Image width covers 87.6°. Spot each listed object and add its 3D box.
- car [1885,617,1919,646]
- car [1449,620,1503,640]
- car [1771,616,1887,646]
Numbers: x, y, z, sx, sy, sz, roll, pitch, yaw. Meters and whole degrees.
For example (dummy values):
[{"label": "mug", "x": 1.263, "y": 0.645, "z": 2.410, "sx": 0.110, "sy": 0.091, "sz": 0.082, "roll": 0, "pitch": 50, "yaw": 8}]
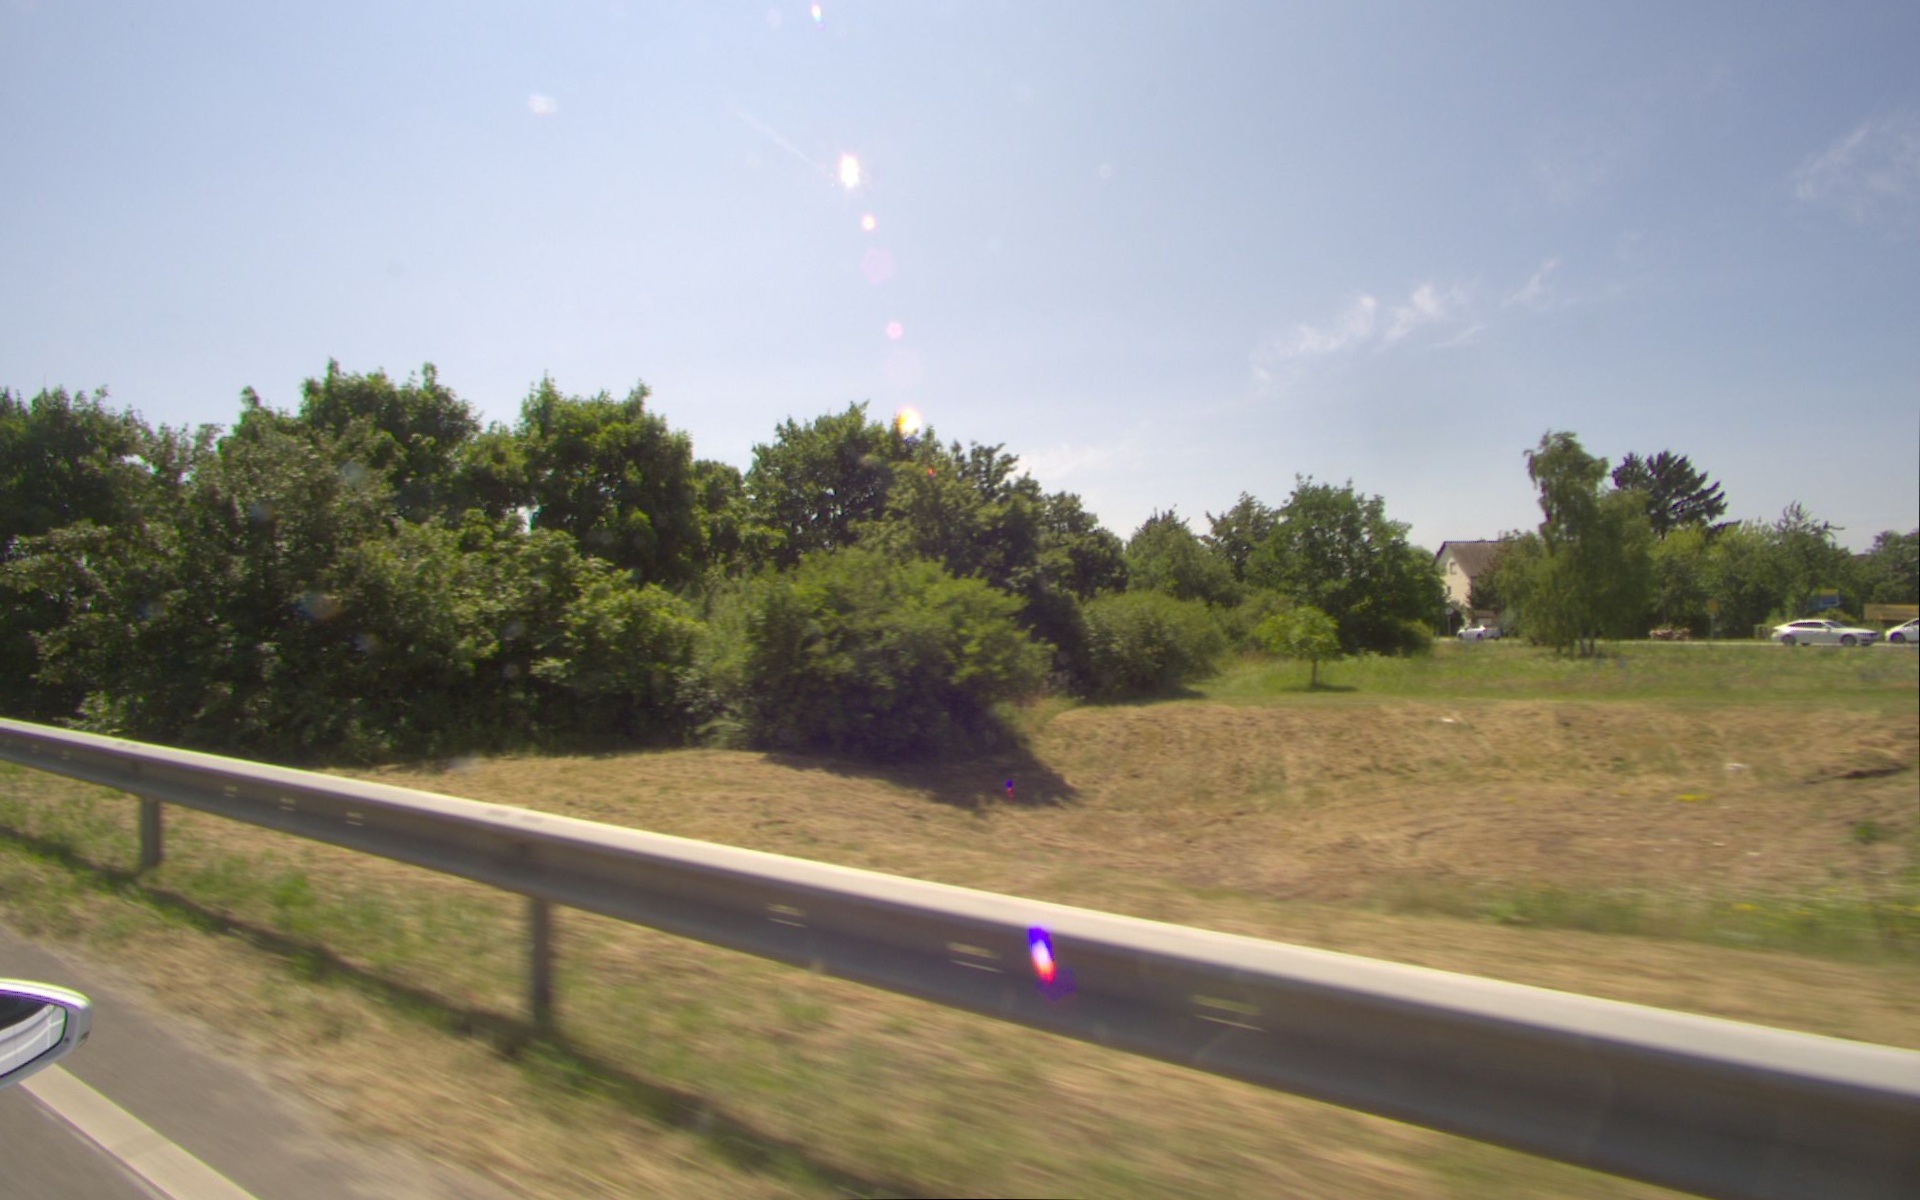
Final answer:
[{"label": "car", "x": 55.053, "y": 1.746, "z": 56.219, "sx": 2.036, "sy": 1.644, "sz": 4.132, "roll": 0, "pitch": -1, "yaw": -22}, {"label": "car", "x": 43.178, "y": 2.528, "z": 83.876, "sx": 1.617, "sy": 1.644, "sz": 3.989, "roll": 0, "pitch": -1, "yaw": -22}, {"label": "car", "x": 49.044, "y": 1.761, "z": 56.625, "sx": 1.618, "sy": 1.644, "sz": 4.752, "roll": 0, "pitch": -2, "yaw": -24}]
